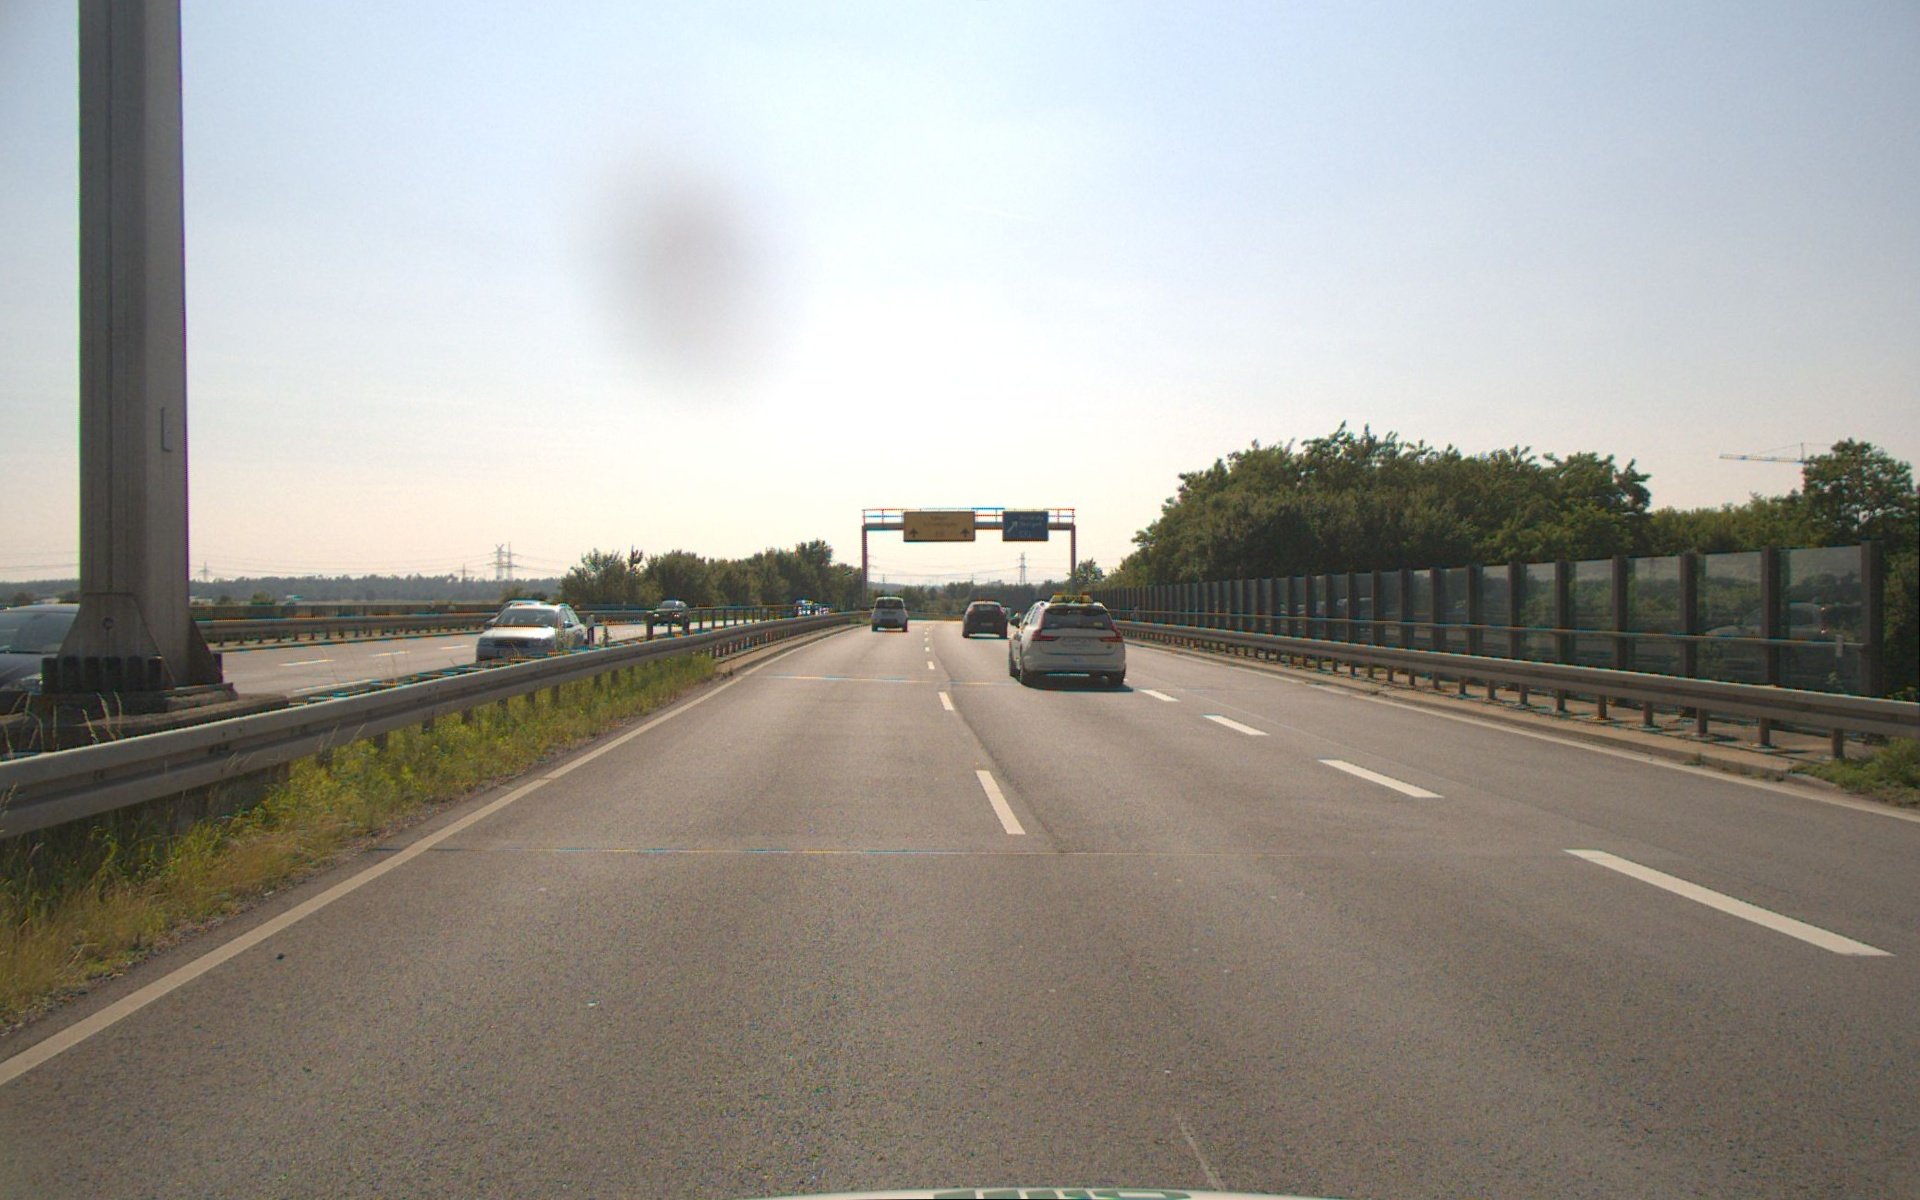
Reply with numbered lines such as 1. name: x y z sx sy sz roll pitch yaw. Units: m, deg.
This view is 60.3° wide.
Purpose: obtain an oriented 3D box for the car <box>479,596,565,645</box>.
1. car: -14.026 0.628 53.233 1.788 1.453 4.528 1 0 -3

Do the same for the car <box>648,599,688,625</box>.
1. car: -17.133 0.686 97.253 1.743 1.408 3.999 1 0 -2

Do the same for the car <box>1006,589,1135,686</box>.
1. car: 1.958 0.636 30.413 1.919 1.629 4.105 1 0 -2

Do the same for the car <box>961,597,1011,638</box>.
1. car: 1.017 0.693 66.271 1.757 1.570 3.669 1 -1 -3

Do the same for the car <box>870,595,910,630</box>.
1. car: -3.196 0.584 76.334 1.757 1.529 4.042 0 -1 -1

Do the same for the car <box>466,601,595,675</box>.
1. car: -9.328 0.784 36.277 1.836 1.463 4.500 1 0 -3

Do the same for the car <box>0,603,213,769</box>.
1. car: -9.678 0.810 17.515 1.759 1.499 3.999 1 0 -1
